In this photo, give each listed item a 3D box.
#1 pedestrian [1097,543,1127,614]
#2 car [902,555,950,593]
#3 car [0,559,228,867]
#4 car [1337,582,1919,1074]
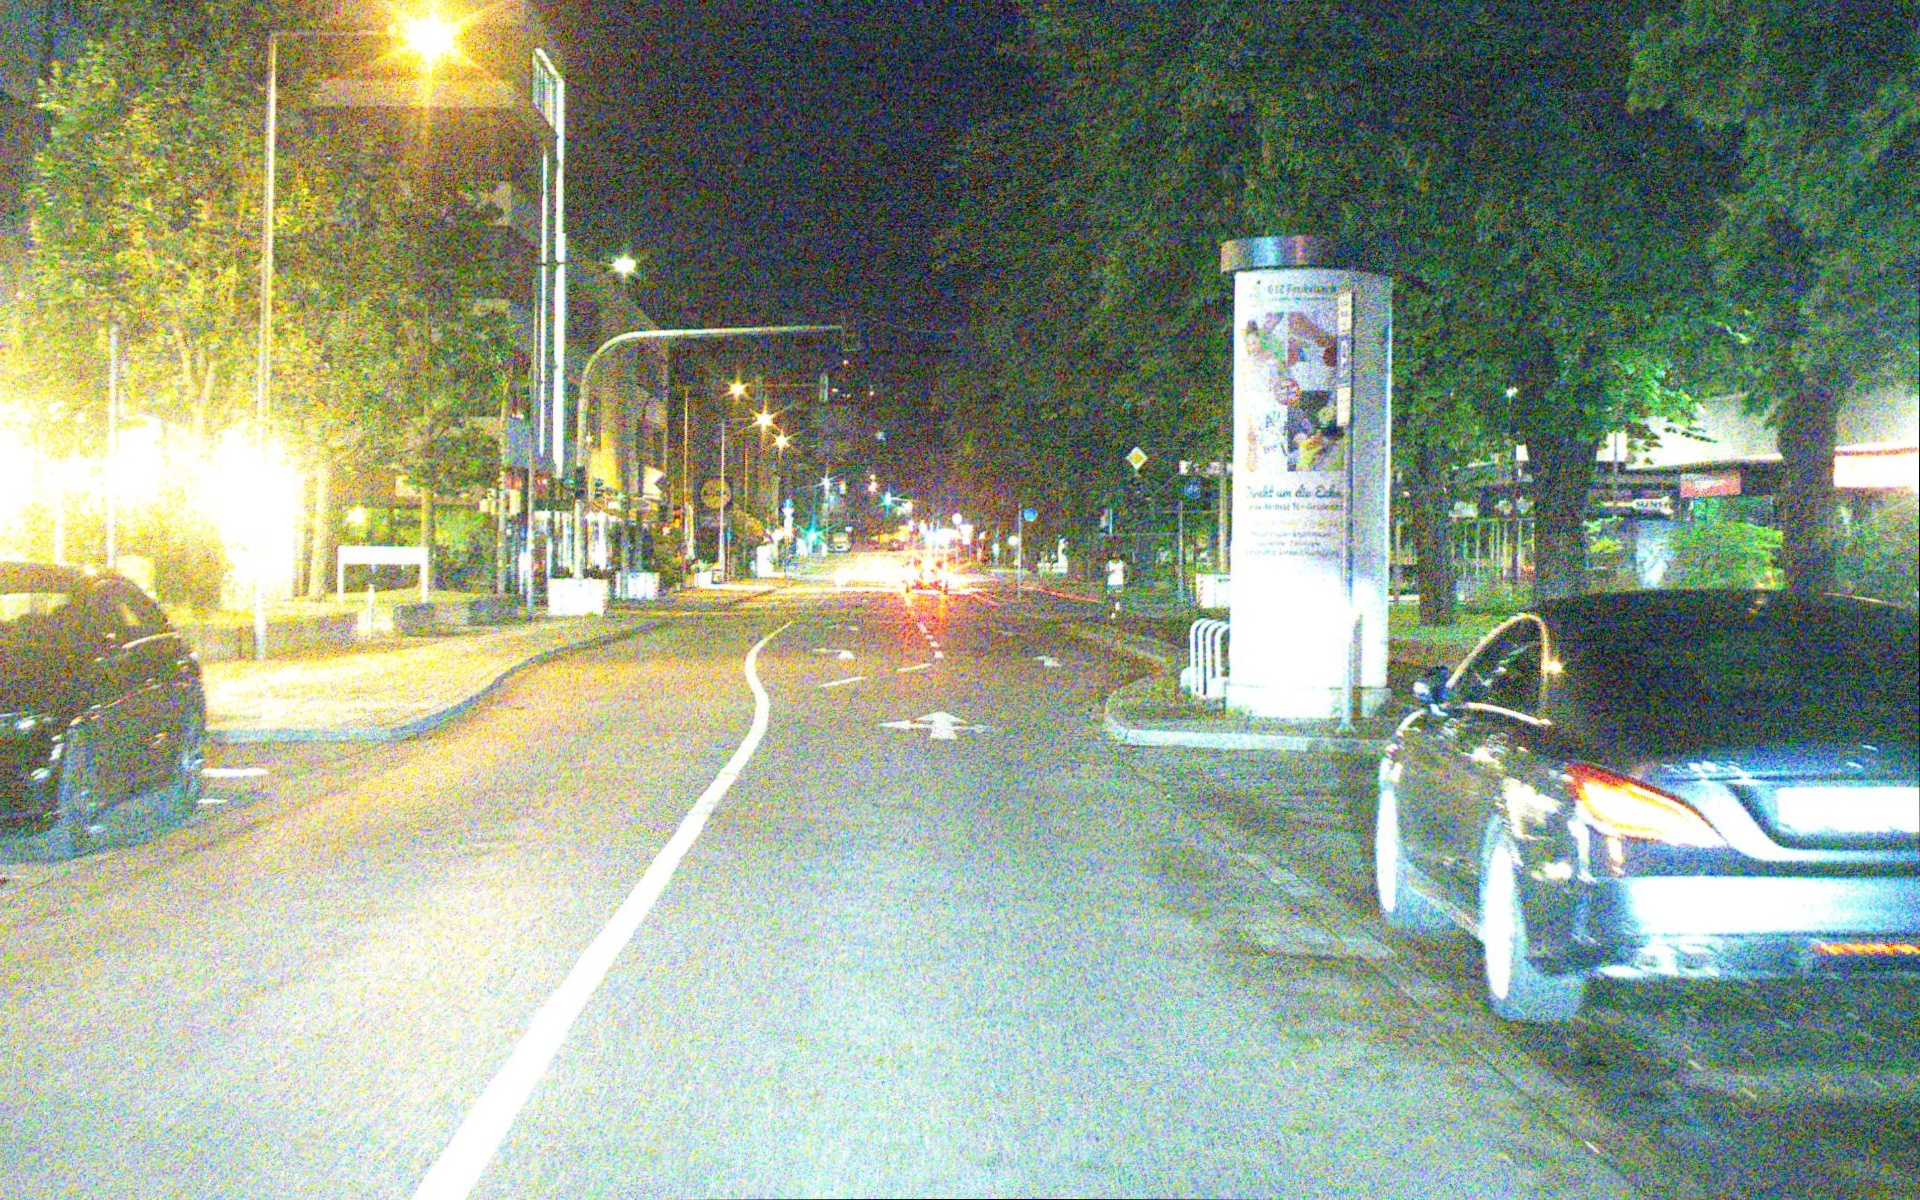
[{"bbox_3d":[3.892,-0.563,88.214,0.703,1.812,1.082,0,1,-1],"label":"pedestrian"},{"bbox_3d":[-1.503,-1.138,150.298,1.993,1.637,4.000,0,1,-1],"label":"car"},{"bbox_3d":[-5.280,0.502,18.470,1.741,1.408,4.496,2,1,-1],"label":"car"},{"bbox_3d":[2.542,0.658,12.536,1.764,1.409,4.808,0,1,-1],"label":"car"}]
